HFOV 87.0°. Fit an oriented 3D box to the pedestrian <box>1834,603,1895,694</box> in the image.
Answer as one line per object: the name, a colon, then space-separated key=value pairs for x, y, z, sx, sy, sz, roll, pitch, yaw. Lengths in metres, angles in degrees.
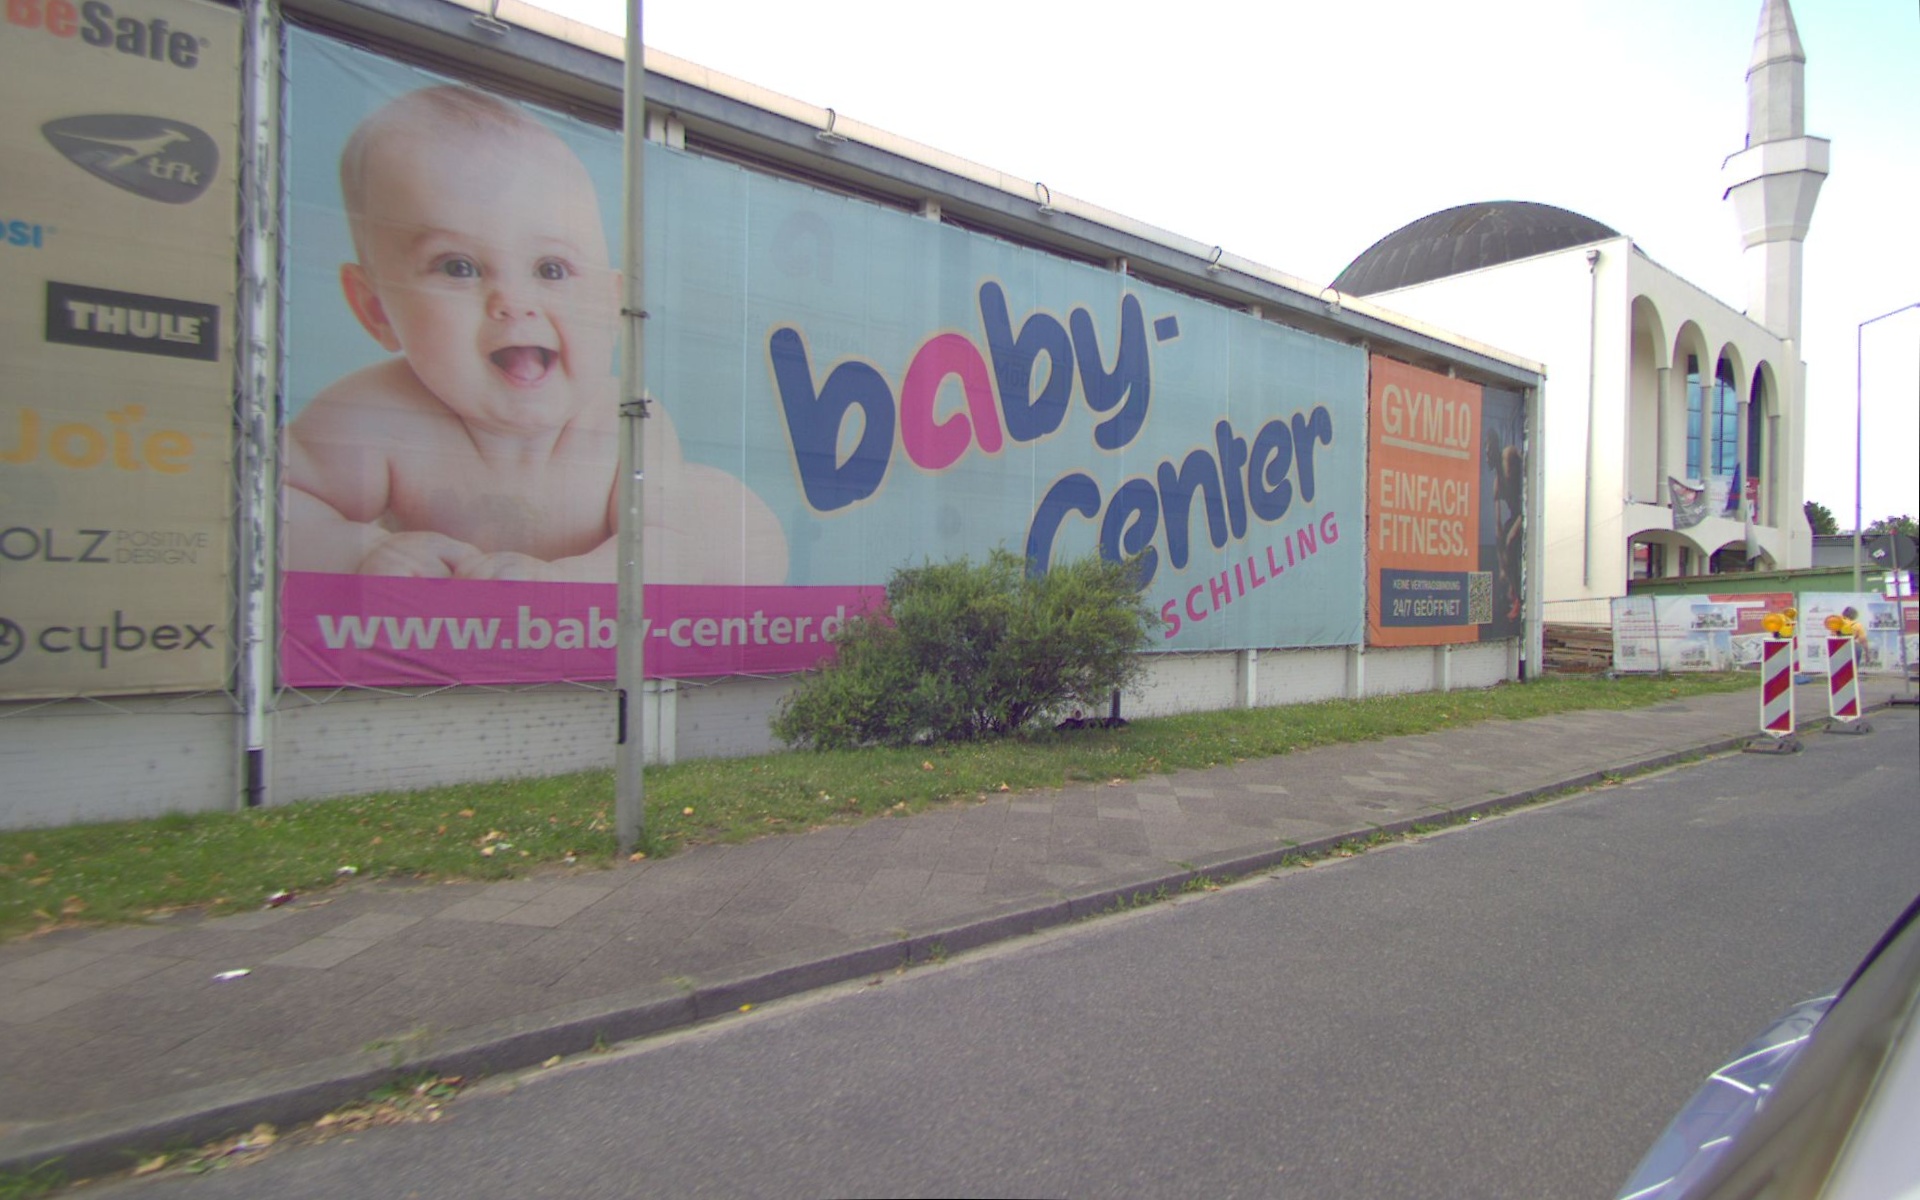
pedestrian: x=16.114 y=0.834 z=18.028 sx=1.110 sy=1.553 sz=0.682 roll=0 pitch=0 yaw=-42
